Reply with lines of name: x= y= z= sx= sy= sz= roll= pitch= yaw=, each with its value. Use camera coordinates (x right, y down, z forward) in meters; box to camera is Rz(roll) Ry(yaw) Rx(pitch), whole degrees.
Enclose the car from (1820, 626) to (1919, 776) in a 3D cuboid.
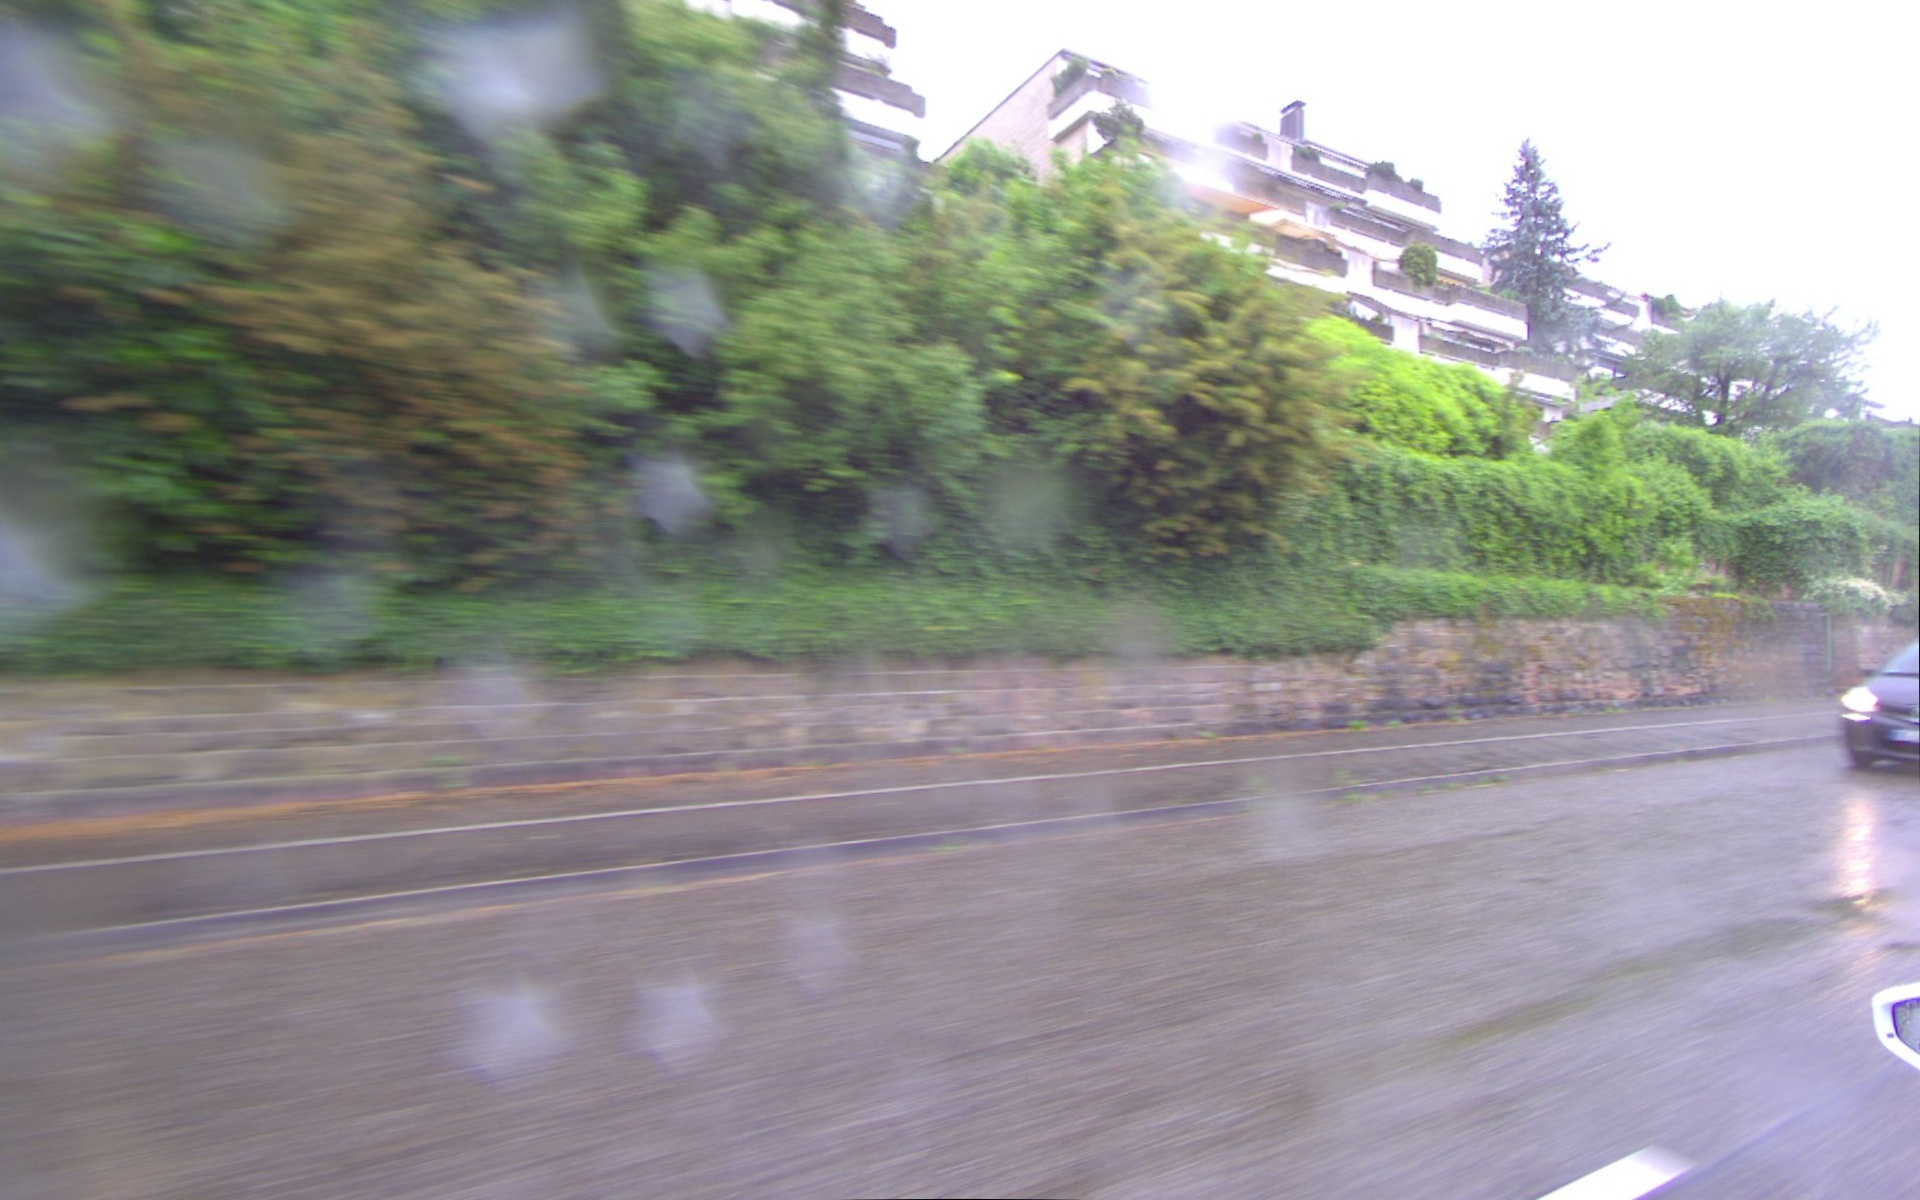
car: x=11.472 y=1.077 z=11.190 sx=4.081 sy=1.515 sz=1.750 roll=2 pitch=-2 yaw=-32
